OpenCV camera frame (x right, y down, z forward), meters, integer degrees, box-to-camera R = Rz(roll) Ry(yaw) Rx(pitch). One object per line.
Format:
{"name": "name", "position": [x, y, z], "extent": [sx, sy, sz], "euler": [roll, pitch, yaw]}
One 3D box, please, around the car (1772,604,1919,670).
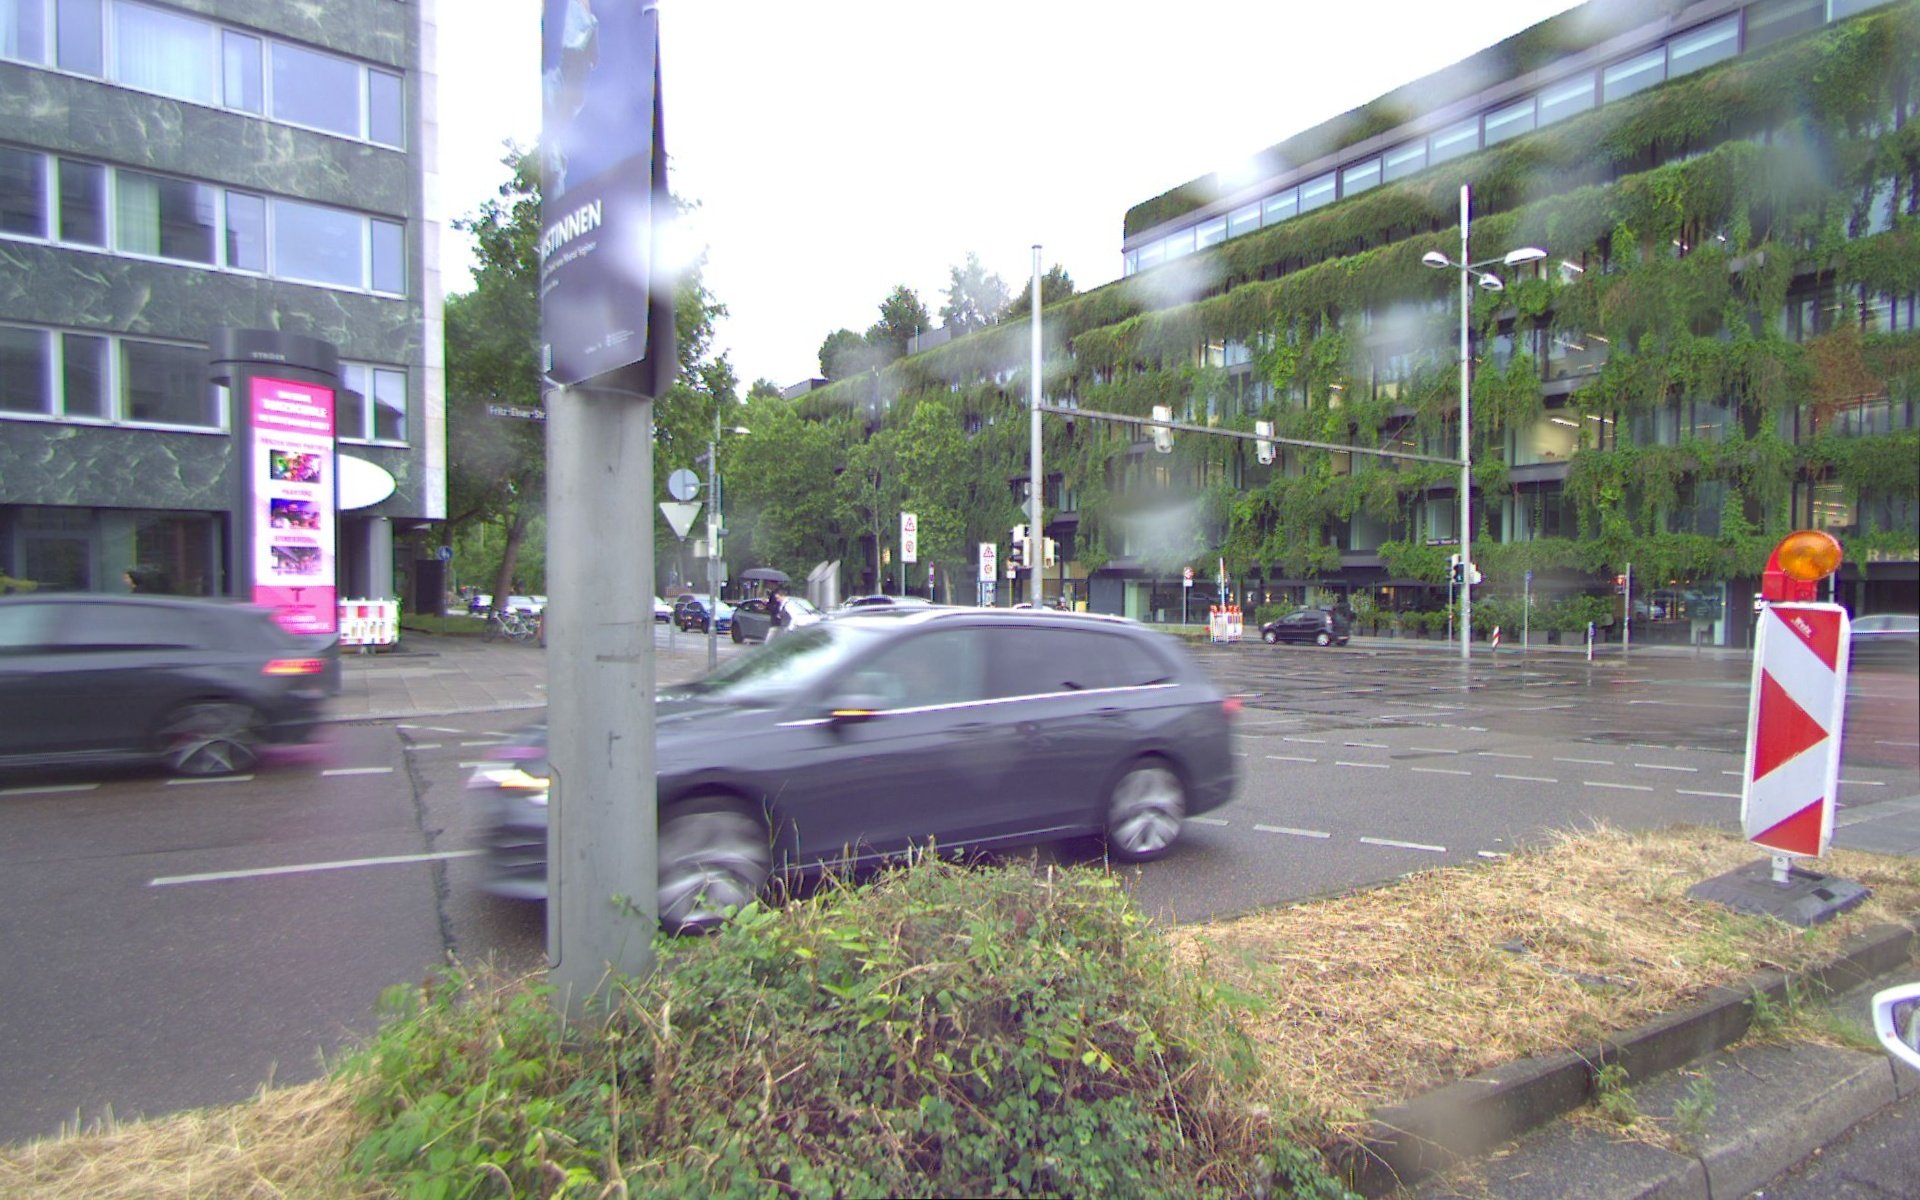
{"name": "car", "position": [25.462, 1.016, 27.825], "extent": [1.985, 1.660, 4.364], "euler": [2, 0, -42]}

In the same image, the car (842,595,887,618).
{"name": "car", "position": [-7.360, 0.488, 77.245], "extent": [1.783, 1.588, 3.962], "euler": [2, 0, -34]}

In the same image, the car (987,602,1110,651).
{"name": "car", "position": [2.880, 0.854, 33.464], "extent": [1.981, 1.495, 3.958], "euler": [1, 0, -37]}

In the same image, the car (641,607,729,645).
{"name": "car", "position": [-10.893, 1.001, 39.623], "extent": [1.982, 1.389, 4.131], "euler": [1, 0, -37]}

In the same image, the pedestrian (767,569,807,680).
{"name": "pedestrian", "position": [-3.248, 0.464, 18.875], "extent": [0.715, 2.040, 0.598], "euler": [1, 0, -10]}

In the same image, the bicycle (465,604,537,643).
{"name": "bicycle", "position": [-12.969, 0.661, 28.410], "extent": [1.765, 1.066, 0.581], "euler": [1, 0, -35]}

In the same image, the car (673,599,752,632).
{"name": "car", "position": [-11.154, 0.690, 45.124], "extent": [1.982, 1.389, 4.131], "euler": [1, 0, -37]}

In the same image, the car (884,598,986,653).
{"name": "car", "position": [-1.003, 0.910, 37.762], "extent": [1.978, 1.923, 4.139], "euler": [1, 0, -33]}

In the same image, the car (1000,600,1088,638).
{"name": "car", "position": [4.000, 0.898, 48.084], "extent": [1.840, 1.692, 3.946], "euler": [2, 0, -45]}

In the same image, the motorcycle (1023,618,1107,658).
{"name": "motorcycle", "position": [3.015, 1.084, 29.091], "extent": [2.331, 1.068, 0.830], "euler": [2, 0, 41]}

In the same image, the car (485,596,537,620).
{"name": "car", "position": [-27.322, 0.466, 61.110], "extent": [1.982, 1.389, 4.131], "euler": [1, 0, -37]}

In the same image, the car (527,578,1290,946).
{"name": "car", "position": [-0.172, 0.713, 5.986], "extent": [4.241, 1.530, 1.679], "euler": [2, 0, -31]}

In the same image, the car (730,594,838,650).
{"name": "car", "position": [-6.011, 0.695, 34.034], "extent": [1.982, 1.773, 3.956], "euler": [1, 0, -38]}

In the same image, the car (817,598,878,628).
{"name": "car", "position": [-6.616, 0.727, 58.829], "extent": [1.834, 1.692, 3.958], "euler": [1, 0, -37]}

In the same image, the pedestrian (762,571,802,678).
{"name": "pedestrian", "position": [-3.451, 0.476, 19.471], "extent": [0.715, 2.040, 0.598], "euler": [1, 0, -10]}

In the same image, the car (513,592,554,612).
{"name": "car", "position": [-33.792, 0.139, 79.533], "extent": [1.919, 1.544, 4.054], "euler": [1, 0, -40]}

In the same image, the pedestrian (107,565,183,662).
{"name": "pedestrian", "position": [-15.417, 0.254, 19.042], "extent": [1.022, 1.757, 1.195], "euler": [2, 0, -37]}

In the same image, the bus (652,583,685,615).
{"name": "bus", "position": [-32.014, -0.154, 110.231], "extent": [1.783, 3.385, 5.922], "euler": [2, 0, -34]}

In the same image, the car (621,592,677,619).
{"name": "car", "position": [-18.676, 0.330, 60.207], "extent": [1.918, 1.544, 4.057], "euler": [1, 0, -38]}

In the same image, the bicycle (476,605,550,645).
{"name": "bicycle", "position": [-12.290, 0.676, 27.632], "extent": [1.765, 1.066, 0.581], "euler": [1, 0, -35]}

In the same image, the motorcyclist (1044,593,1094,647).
{"name": "motorcyclist", "position": [3.142, 0.579, 28.991], "extent": [1.153, 1.492, 0.832], "euler": [2, 0, 40]}

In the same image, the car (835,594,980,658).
{"name": "car", "position": [-1.608, 0.699, 29.169], "extent": [1.984, 1.709, 4.314], "euler": [1, 0, -41]}

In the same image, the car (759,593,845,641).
{"name": "car", "position": [-6.284, 0.632, 39.668], "extent": [1.841, 1.791, 4.139], "euler": [1, 0, -32]}

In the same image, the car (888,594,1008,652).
{"name": "car", "position": [-0.444, 0.706, 32.626], "extent": [1.981, 1.773, 3.958], "euler": [1, 0, -37]}

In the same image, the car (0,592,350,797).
{"name": "car", "position": [-7.262, 0.677, 7.919], "extent": [4.166, 1.450, 1.678], "euler": [-1, 1, -32]}

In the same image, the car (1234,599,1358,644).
{"name": "car", "position": [13.635, 0.844, 40.951], "extent": [1.985, 1.660, 4.364], "euler": [2, 0, -42]}
